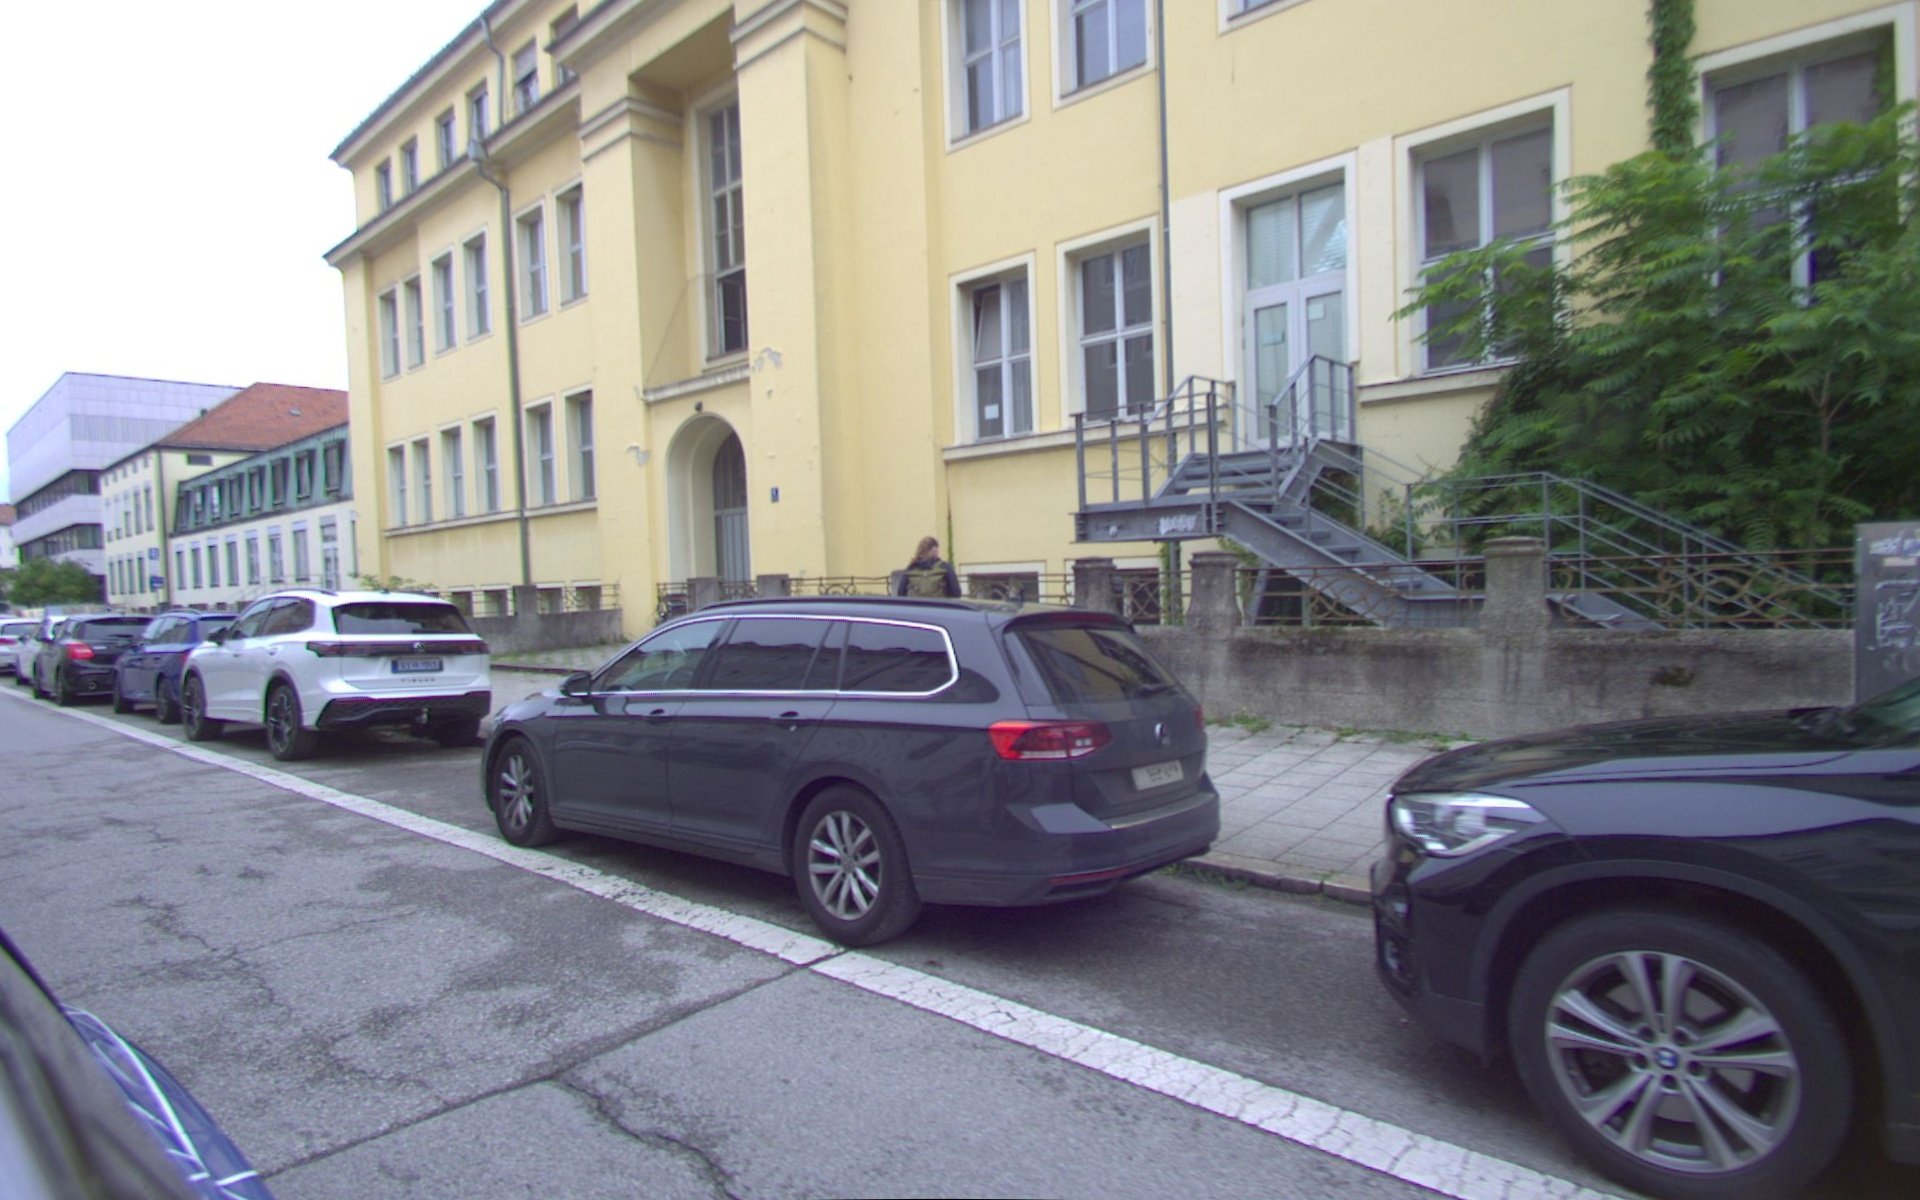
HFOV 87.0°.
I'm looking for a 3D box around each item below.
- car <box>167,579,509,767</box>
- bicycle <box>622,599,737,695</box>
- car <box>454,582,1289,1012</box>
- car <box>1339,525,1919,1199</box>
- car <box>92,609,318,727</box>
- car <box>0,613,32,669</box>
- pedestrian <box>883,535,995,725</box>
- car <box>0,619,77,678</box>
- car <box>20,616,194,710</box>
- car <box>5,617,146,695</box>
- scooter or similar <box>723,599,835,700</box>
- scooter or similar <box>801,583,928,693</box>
[{"bbox_3d":[-6.837,0.697,10.955,4.294,1.653,1.764,-1,-2,38],"label":"car"},{"bbox_3d":[-3.811,0.610,13.686,1.765,1.197,0.577,-1,2,41],"label":"bicycle"},{"bbox_3d":[-0.790,0.715,5.500,4.596,1.419,1.756,-1,-3,39],"label":"car"},{"bbox_3d":[3.229,0.601,2.058,4.270,1.514,1.751,-1,-1,40],"label":"car"},{"bbox_3d":[-10.736,0.884,14.306,3.912,1.457,1.591,-1,-2,38],"label":"car"},{"bbox_3d":[-28.645,1.172,29.604,4.207,1.566,1.751,-1,-2,41],"label":"car"},{"bbox_3d":[-0.215,0.281,10.323,0.782,1.838,0.766,-1,1,44],"label":"pedestrian"},{"bbox_3d":[-24.229,1.191,25.994,4.018,1.408,1.793,-1,-1,41],"label":"car"},{"bbox_3d":[-14.718,1.005,17.395,3.777,1.450,1.716,-1,-2,41],"label":"car"},{"bbox_3d":[-18.494,1.093,21.105,4.110,1.457,1.668,-1,-1,41],"label":"car"},{"bbox_3d":[-2.229,0.596,12.385,1.444,1.144,0.526,-2,0,41],"label":"scooter or similar"},{"bbox_3d":[-1.087,0.421,11.349,1.444,1.144,0.526,-2,0,41],"label":"scooter or similar"}]
